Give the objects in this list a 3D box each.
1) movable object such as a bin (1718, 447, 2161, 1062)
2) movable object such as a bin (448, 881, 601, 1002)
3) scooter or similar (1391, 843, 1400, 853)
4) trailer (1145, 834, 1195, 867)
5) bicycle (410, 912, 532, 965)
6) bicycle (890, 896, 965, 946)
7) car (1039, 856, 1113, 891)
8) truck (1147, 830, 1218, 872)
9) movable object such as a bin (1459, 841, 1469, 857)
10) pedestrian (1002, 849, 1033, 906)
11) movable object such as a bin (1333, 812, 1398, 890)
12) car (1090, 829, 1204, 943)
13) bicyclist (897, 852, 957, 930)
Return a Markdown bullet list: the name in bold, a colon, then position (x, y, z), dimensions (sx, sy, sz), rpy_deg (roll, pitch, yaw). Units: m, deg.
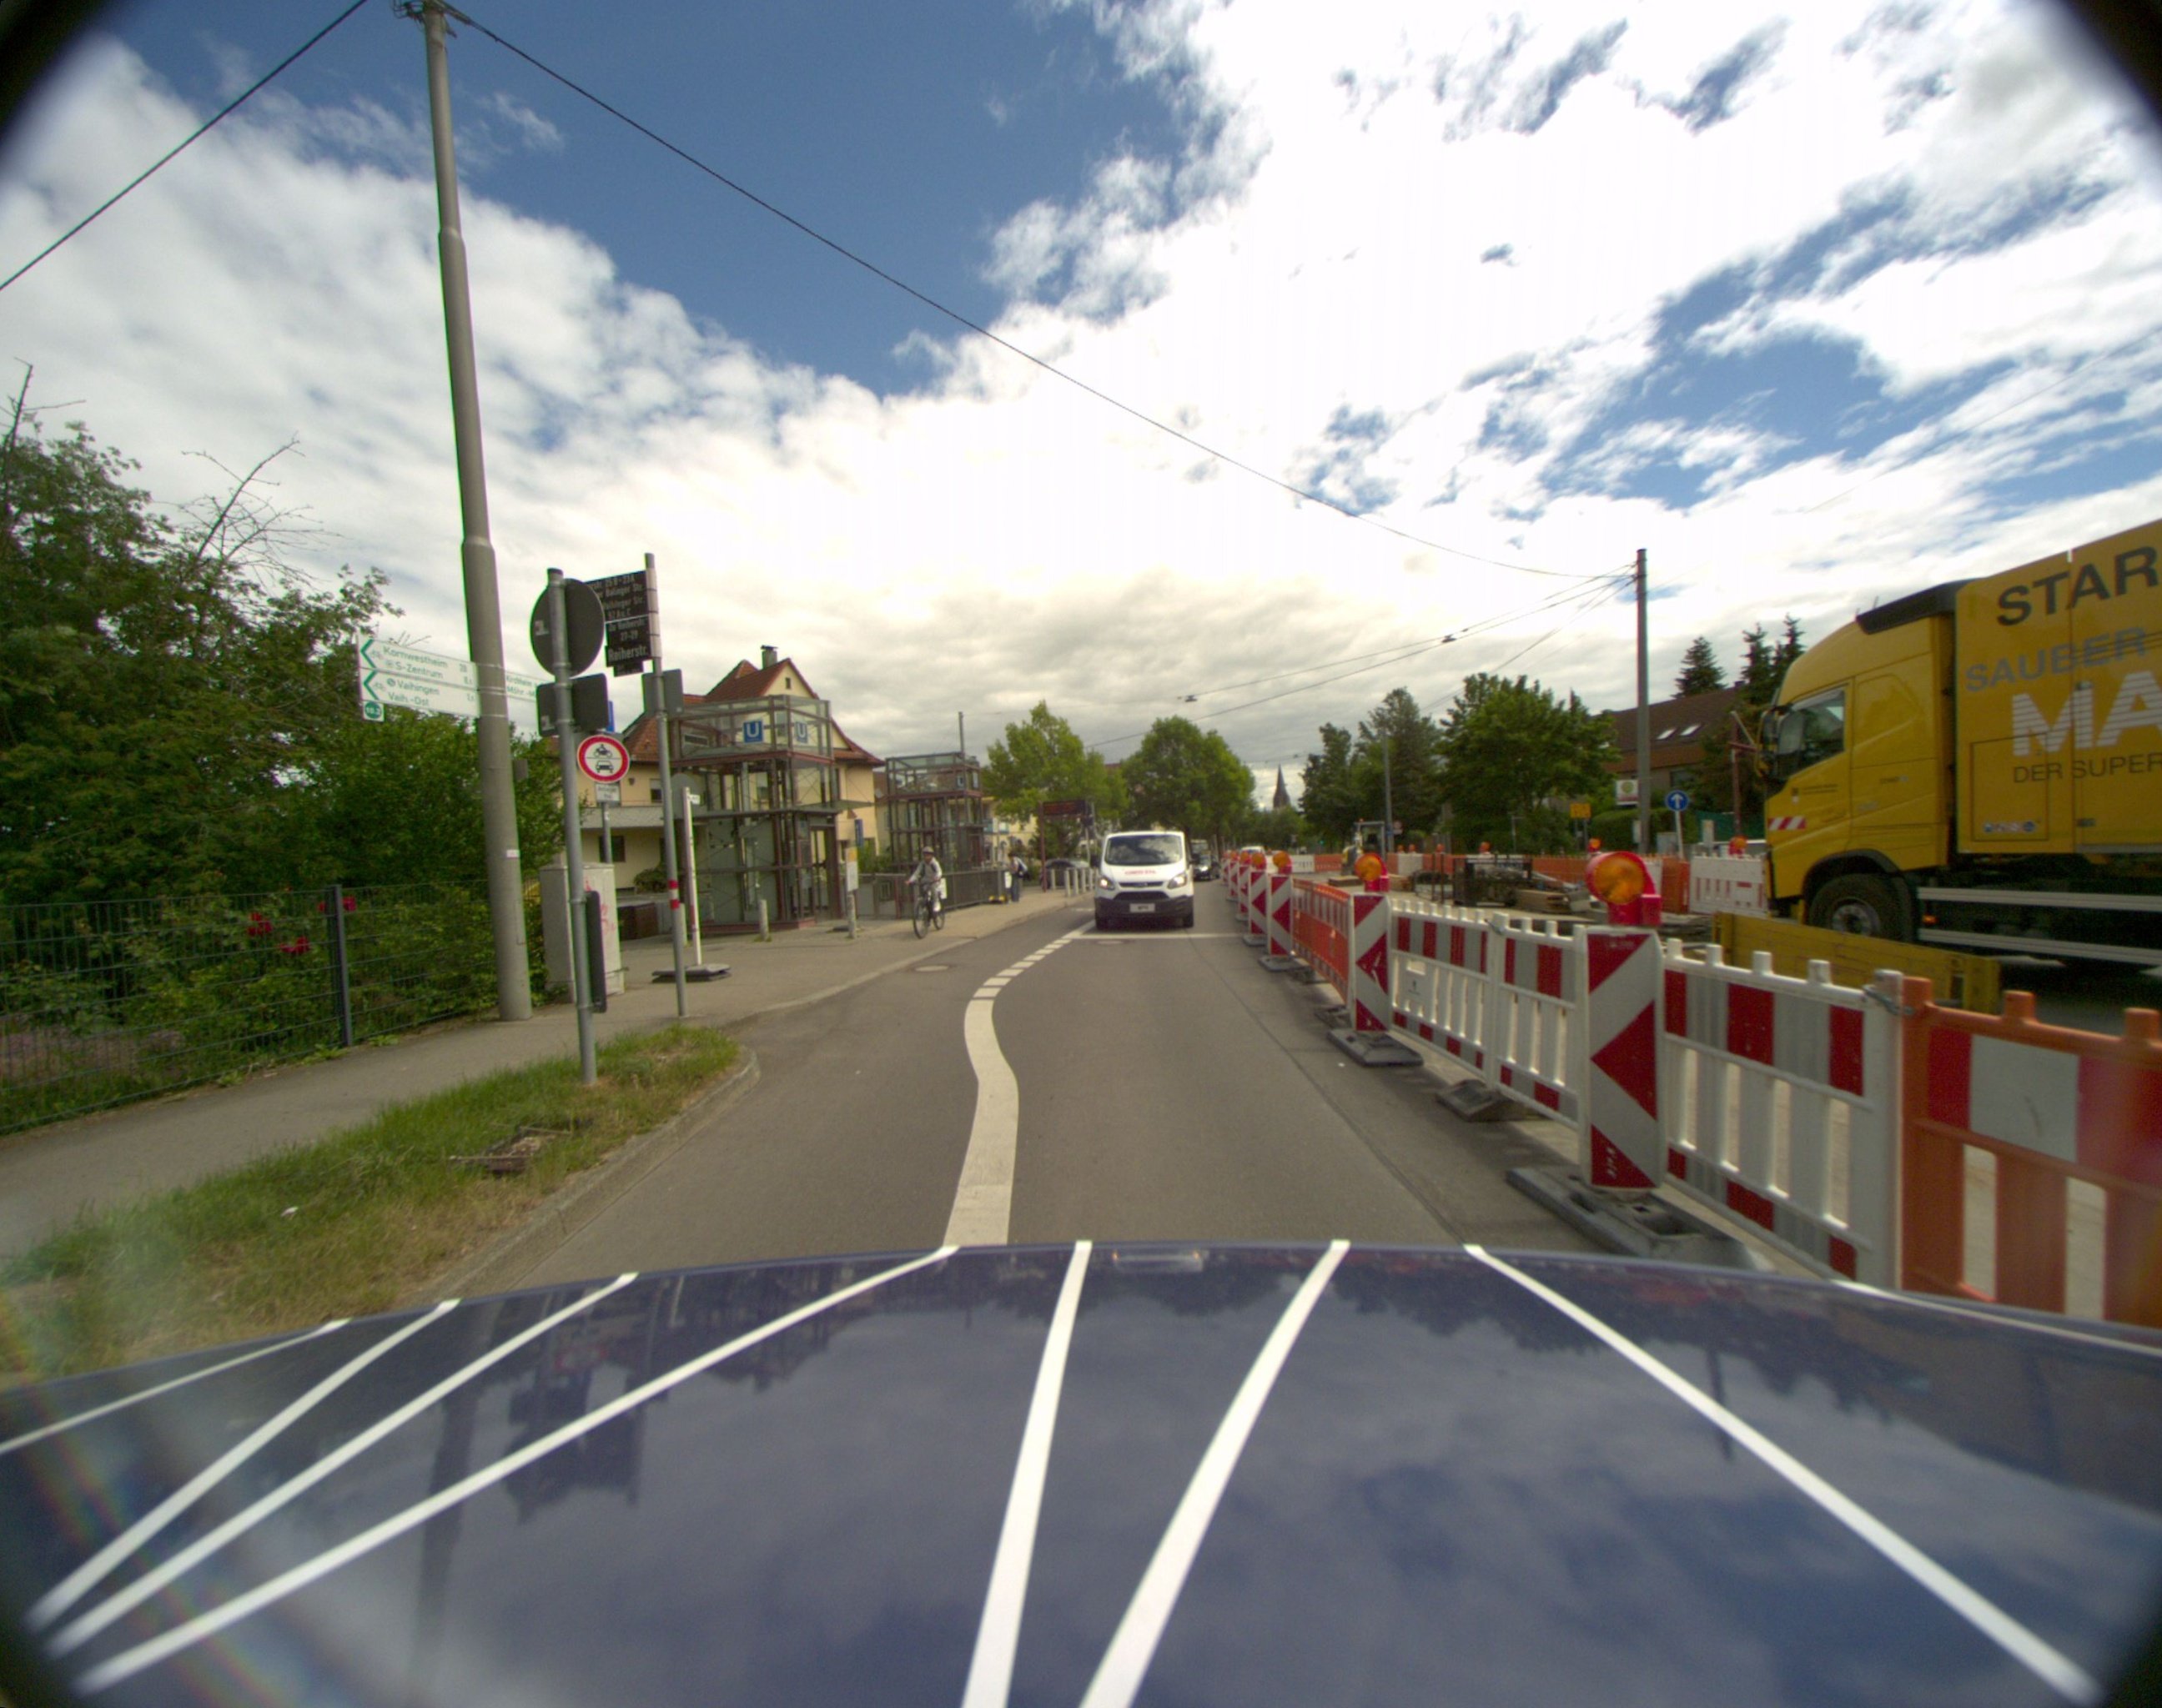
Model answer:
- **movable object such as a bin**: position (8.527, -0.693, 3.643), dimensions (2.596, 4.197, 11.125), rpy_deg (-2, 0, 6)
- **movable object such as a bin**: position (-7.429, 1.153, 10.183), dimensions (1.269, 1.461, 1.005), rpy_deg (-3, 1, 17)
- **scooter or similar**: position (29.528, -0.585, 71.394), dimensions (0.637, 0.859, 1.031), rpy_deg (-3, 0, 17)
- **trailer**: position (7.135, -0.311, 60.285), dimensions (2.596, 2.232, 5.681), rpy_deg (-5, -1, 19)
- **bicycle**: position (-14.837, 2.032, 18.598), dimensions (0.567, 0.974, 2.472), rpy_deg (-3, 0, 12)
- **bicycle**: position (-2.877, 1.241, 14.471), dimensions (0.636, 0.749, 2.064), rpy_deg (-3, 0, 11)
- **car**: position (-0.300, 1.026, 39.372), dimensions (1.872, 1.615, 3.991), rpy_deg (-4, -1, -33)
- **truck**: position (8.958, -0.222, 67.813), dimensions (2.346, 3.178, 6.620), rpy_deg (-3, -3, -33)
- **movable object such as a bin**: position (25.438, -0.323, 50.508), dimensions (0.476, 1.005, 0.496), rpy_deg (-2, 1, 13)
- **pedestrian**: position (-1.874, 0.695, 22.398), dimensions (0.599, 1.574, 0.401), rpy_deg (-8, 2, 11)
- **movable object such as a bin**: position (10.922, -0.132, 29.220), dimensions (1.996, 2.610, 6.531), rpy_deg (-2, 0, 20)
- **car**: position (1.409, 0.565, 17.019), dimensions (1.998, 2.002, 5.514), rpy_deg (-4, 1, 4)
- **bicyclist**: position (-2.900, 0.674, 14.398), dimensions (0.657, 1.407, 1.180), rpy_deg (-3, 0, 11)
